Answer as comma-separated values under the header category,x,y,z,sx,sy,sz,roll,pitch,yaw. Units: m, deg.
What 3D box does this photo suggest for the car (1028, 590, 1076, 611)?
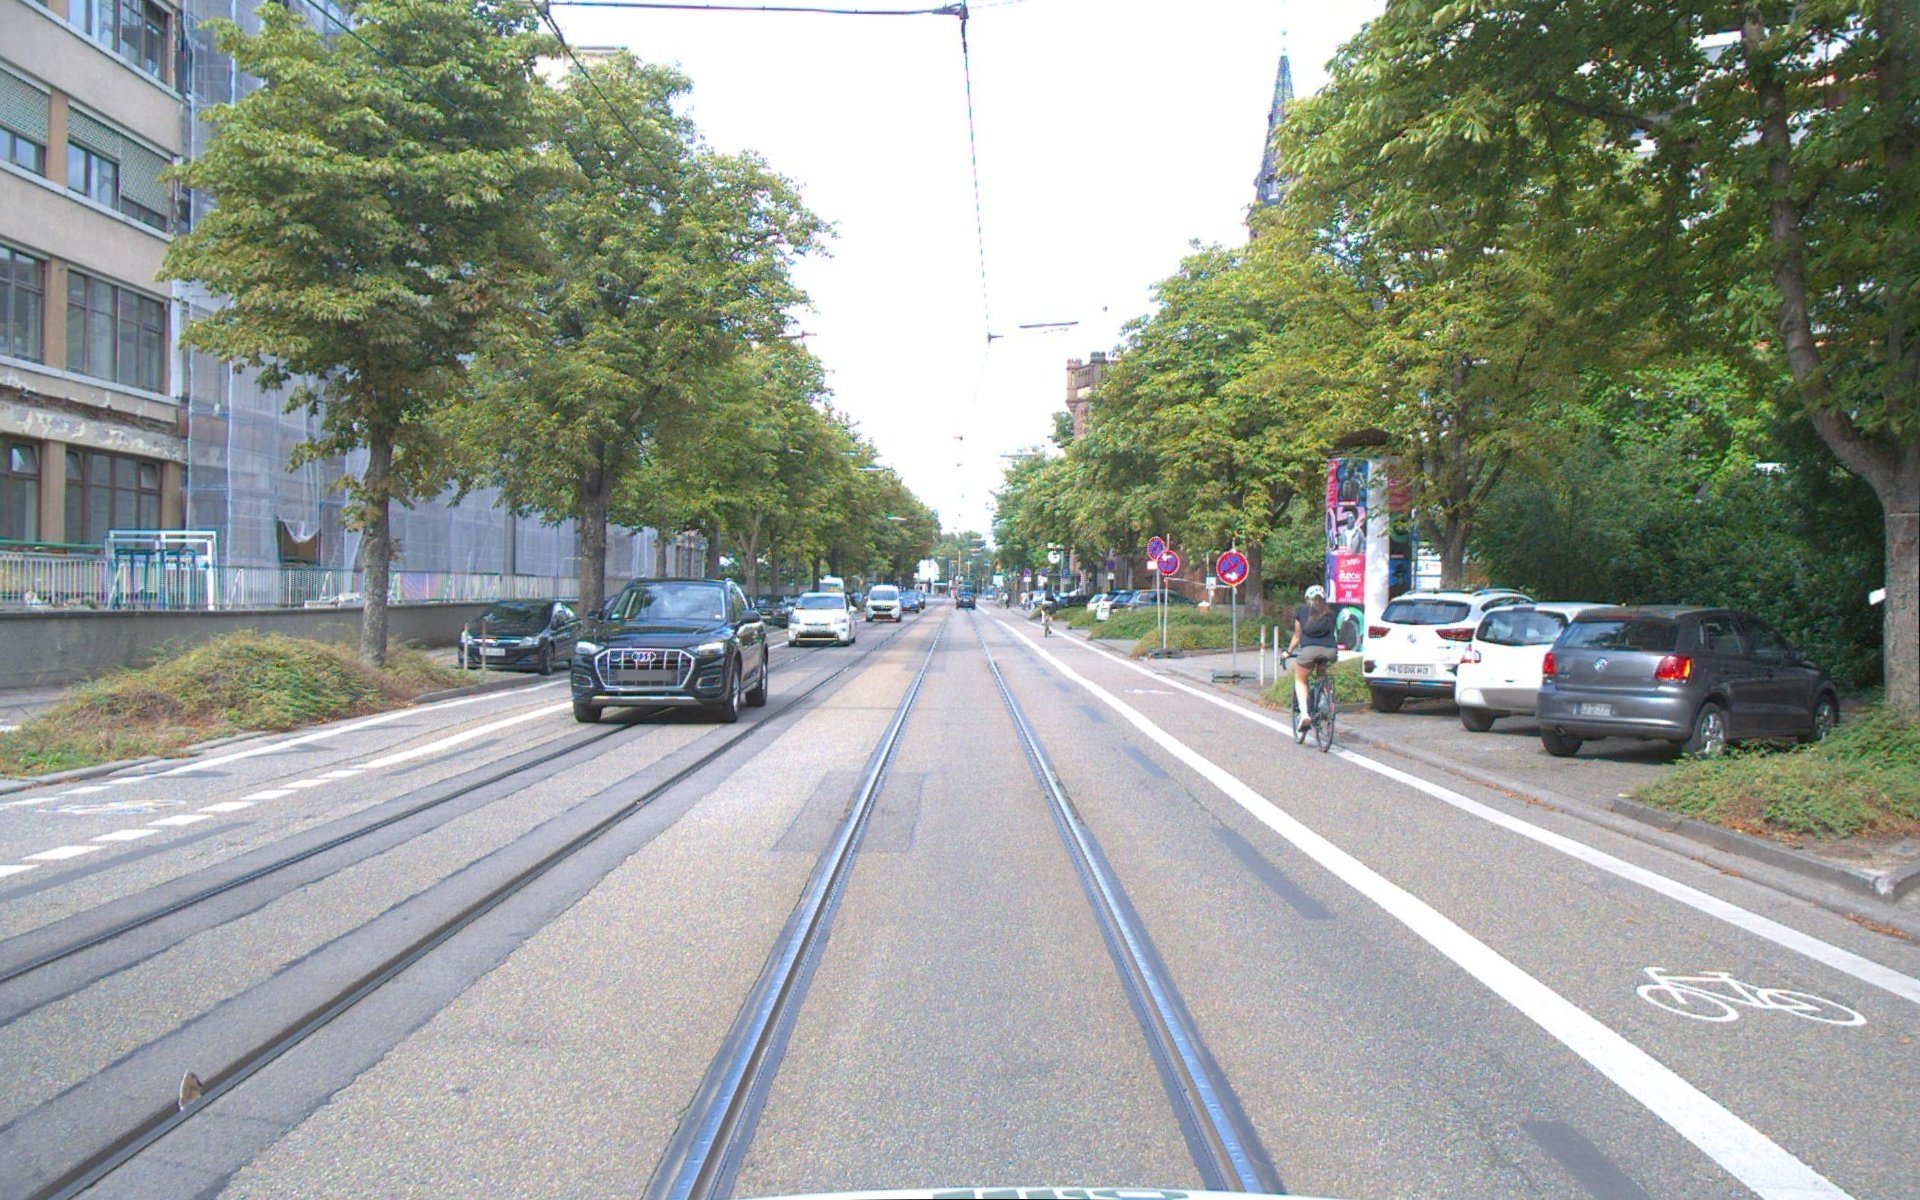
category,x,y,z,sx,sy,sz,roll,pitch,yaw
car,8.074,0.035,144.872,3.910,1.722,1.998,1,0,-6

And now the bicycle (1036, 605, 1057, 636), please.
category,x,y,z,sx,sy,sz,roll,pitch,yaw
bicycle,3.071,0.705,58.887,0.650,1.062,1.841,1,0,0

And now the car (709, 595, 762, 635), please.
category,x,y,z,sx,sy,sz,roll,pitch,yaw
car,-8.411,0.539,62.289,1.558,1.427,3.961,1,0,-2

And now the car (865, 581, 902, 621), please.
category,x,y,z,sx,sy,sz,roll,pitch,yaw
car,-3.775,0.013,82.268,1.697,1.917,4.377,1,0,-2

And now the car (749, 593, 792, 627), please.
category,x,y,z,sx,sy,sz,roll,pitch,yaw
car,-8.293,0.434,72.590,1.558,1.427,3.961,1,0,-2

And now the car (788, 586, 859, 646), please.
category,x,y,z,sx,sy,sz,roll,pitch,yaw
car,-3.881,0.419,47.541,1.697,1.640,4.334,0,0,0

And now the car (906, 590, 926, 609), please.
category,x,y,z,sx,sy,sz,roll,pitch,yaw
car,-3.777,-0.066,142.959,1.697,1.657,4.377,-1,0,-1

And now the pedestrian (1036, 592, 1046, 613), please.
category,x,y,z,sx,sy,sz,roll,pitch,yaw
pedestrian,7.071,0.235,144.489,0.732,1.821,0.731,1,-1,15

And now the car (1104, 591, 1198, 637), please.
category,x,y,z,sx,sy,sz,roll,pitch,yaw
car,7.150,0.524,61.693,1.654,1.630,3.621,0,0,44

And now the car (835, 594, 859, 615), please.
category,x,y,z,sx,sy,sz,roll,pitch,yaw
car,-8.123,0.302,118.843,1.558,1.427,3.961,1,0,-2

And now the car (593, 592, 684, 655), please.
category,x,y,z,sx,sy,sz,roll,pitch,yaw
car,-8.263,0.564,42.779,1.602,1.522,3.962,1,0,-1

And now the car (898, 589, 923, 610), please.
category,x,y,z,sx,sy,sz,roll,pitch,yaw
car,-3.523,-0.054,119.050,1.697,1.522,4.378,0,1,0

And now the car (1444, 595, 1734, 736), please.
category,x,y,z,sx,sy,sz,roll,pitch,yaw
car,7.437,0.716,19.437,3.612,1.500,1.658,1,0,-40

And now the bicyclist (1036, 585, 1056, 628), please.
category,x,y,z,sx,sy,sz,roll,pitch,yaw
bicyclist,3.071,0.218,58.832,0.645,1.522,0.929,1,0,0

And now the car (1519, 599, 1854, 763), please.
category,x,y,z,sx,sy,sz,roll,pitch,yaw
car,7.307,0.741,16.508,3.612,1.444,1.658,1,0,-40

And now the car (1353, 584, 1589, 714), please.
category,x,y,z,sx,sy,sz,roll,pitch,yaw
car,7.049,0.632,22.648,1.654,1.630,3.621,0,0,44

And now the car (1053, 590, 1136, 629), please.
category,x,y,z,sx,sy,sz,roll,pitch,yaw
car,5.761,0.407,70.618,1.654,1.630,3.621,0,0,44

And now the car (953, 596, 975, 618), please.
category,x,y,z,sx,sy,sz,roll,pitch,yaw
car,0.343,0.600,145.976,1.758,1.855,4.677,1,0,-1

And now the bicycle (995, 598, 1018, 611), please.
category,x,y,z,sx,sy,sz,roll,pitch,yaw
bicycle,4.731,0.452,167.074,2.226,1.210,0.769,1,0,7

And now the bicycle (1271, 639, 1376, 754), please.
category,x,y,z,sx,sy,sz,roll,pitch,yaw
bicycle,3.753,0.975,17.233,0.581,1.062,1.977,1,0,-2

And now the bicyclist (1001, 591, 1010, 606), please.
category,x,y,z,sx,sy,sz,roll,pitch,yaw
bicyclist,4.563,-0.126,167.092,0.828,1.531,0.769,1,0,7

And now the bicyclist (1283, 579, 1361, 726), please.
category,x,y,z,sx,sy,sz,roll,pitch,yaw
bicyclist,3.763,0.534,17.234,0.581,1.485,0.875,1,0,-2

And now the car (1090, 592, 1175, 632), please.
category,x,y,z,sx,sy,sz,roll,pitch,yaw
car,7.149,0.500,68.491,1.654,1.630,3.621,0,0,44

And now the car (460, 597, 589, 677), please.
category,x,y,z,sx,sy,sz,roll,pitch,yaw
car,-8.379,0.675,32.118,1.558,1.427,3.961,1,0,-2

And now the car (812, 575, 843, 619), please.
category,x,y,z,sx,sy,sz,roll,pitch,yaw
car,-8.474,-0.207,106.351,1.686,2.751,5.468,1,0,-2

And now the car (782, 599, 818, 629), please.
category,x,y,z,sx,sy,sz,roll,pitch,yaw
car,-7.987,0.677,82.813,1.558,1.427,3.961,1,0,-2

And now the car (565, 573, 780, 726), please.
category,x,y,z,sx,sy,sz,roll,pitch,yaw
car,-3.379,0.525,20.226,1.809,1.640,4.334,1,0,0
